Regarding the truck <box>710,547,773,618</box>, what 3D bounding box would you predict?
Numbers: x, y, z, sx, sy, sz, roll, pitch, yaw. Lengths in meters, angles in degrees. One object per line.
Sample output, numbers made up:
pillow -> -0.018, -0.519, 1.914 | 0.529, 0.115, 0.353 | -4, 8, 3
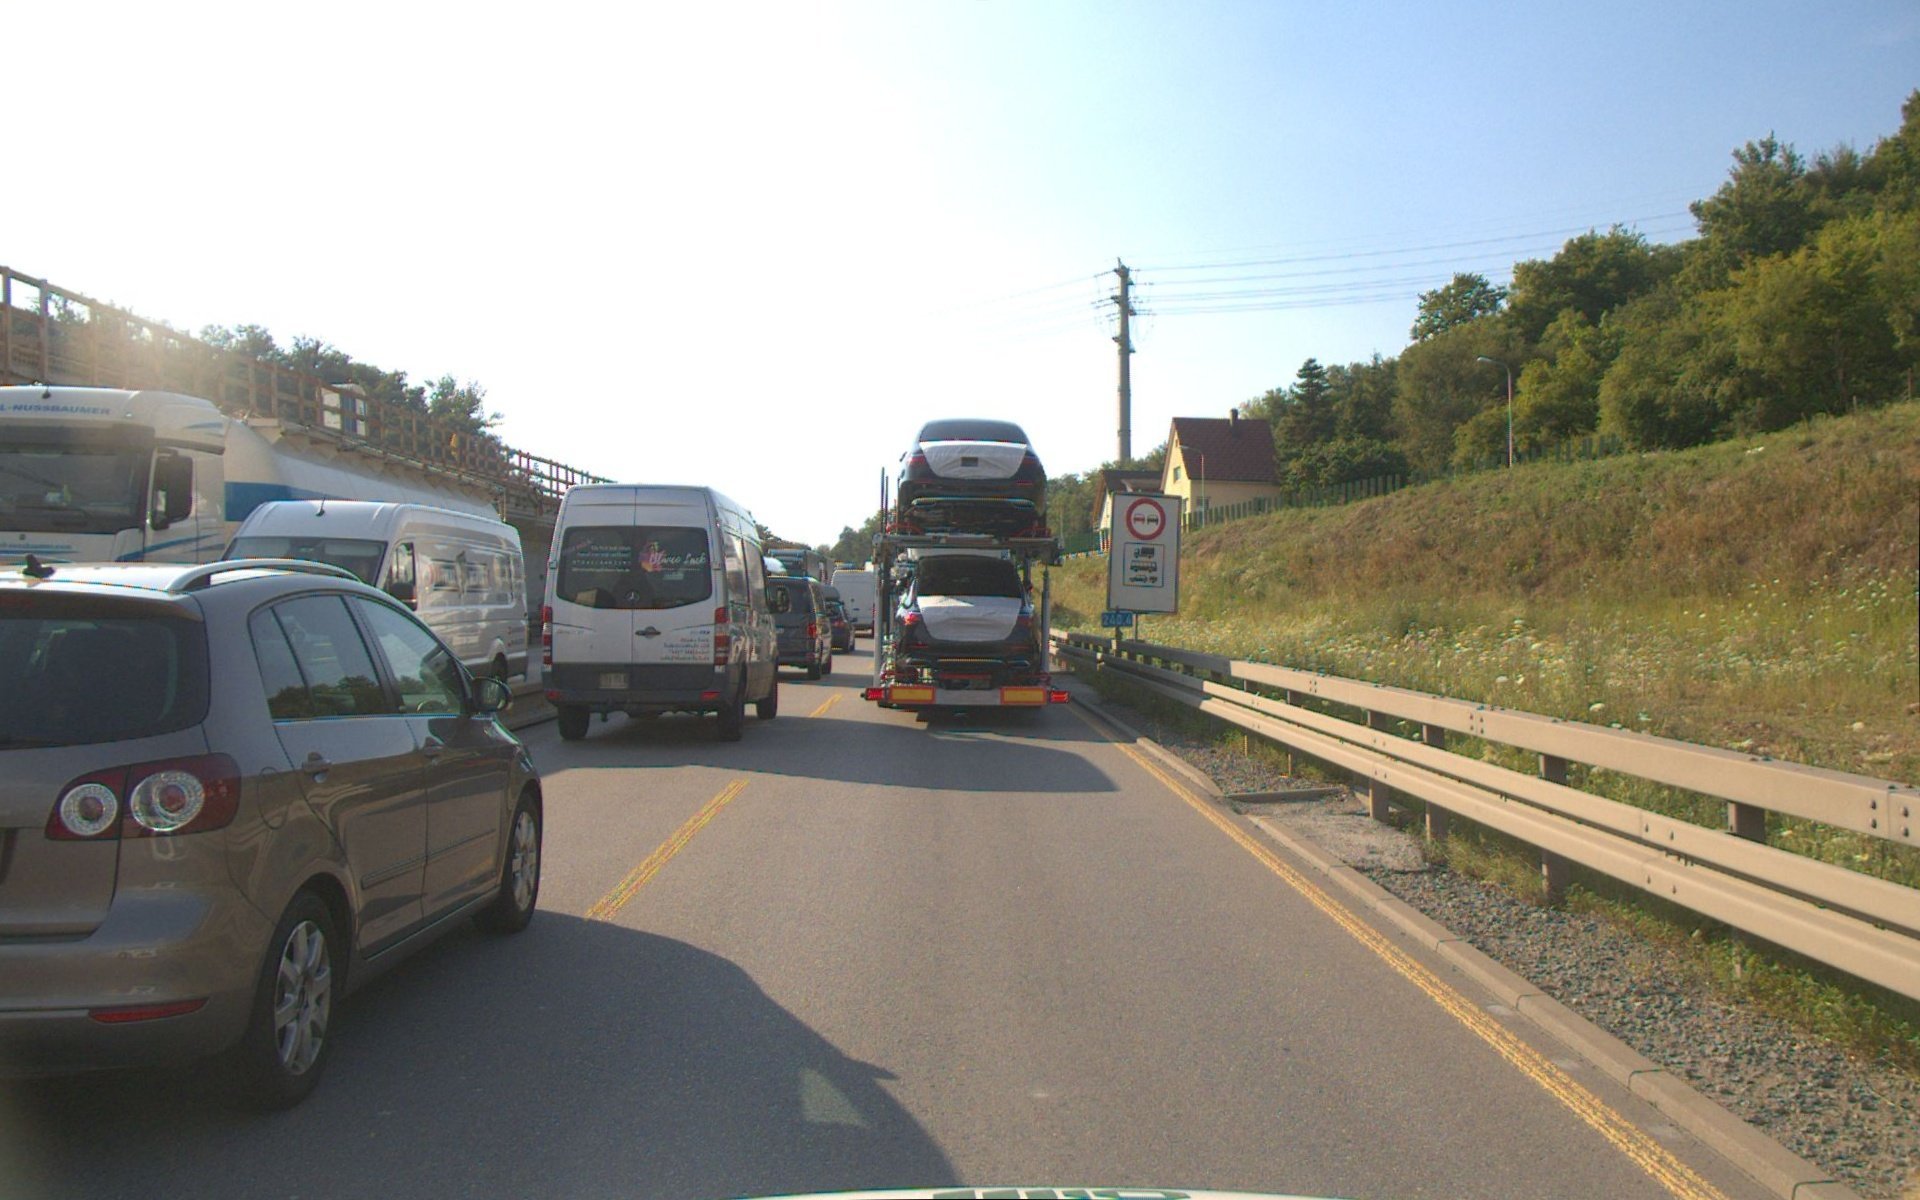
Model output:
truck -> -11.091, -0.843, 84.411 | 2.497, 3.469, 5.530 | 1, 0, -1

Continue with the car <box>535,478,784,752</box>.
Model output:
car -> -3.264, 0.110, 19.111 | 1.953, 2.694, 5.529 | 0, 1, -1

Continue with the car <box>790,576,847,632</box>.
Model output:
car -> -6.662, 0.185, 78.122 | 2.422, 2.578, 3.999 | 0, 0, -2

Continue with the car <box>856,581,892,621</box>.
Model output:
car -> -4.681, 0.043, 90.809 | 1.848, 2.136, 3.764 | 1, 0, -2

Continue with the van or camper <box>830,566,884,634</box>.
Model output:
van or camper -> -4.162, 0.017, 67.519 | 1.928, 2.637, 5.040 | 1, 0, -1

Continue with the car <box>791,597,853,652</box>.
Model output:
car -> -4.178, 0.719, 50.545 | 1.691, 1.549, 3.971 | 1, 1, -2

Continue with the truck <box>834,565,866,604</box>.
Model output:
truck -> -10.370, -1.434, 156.907 | 2.660, 3.484, 8.137 | -2, 0, -2

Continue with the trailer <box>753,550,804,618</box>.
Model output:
trailer -> -11.649, -1.081, 106.735 | 2.709, 4.213, 5.975 | 1, 1, -1

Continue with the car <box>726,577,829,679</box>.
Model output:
car -> -3.659, 0.555, 33.768 | 1.772, 1.937, 3.998 | 1, -1, -2

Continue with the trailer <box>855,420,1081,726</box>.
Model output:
trailer -> -0.014, -0.306, 27.309 | 2.628, 3.596, 15.285 | 1, 0, -1

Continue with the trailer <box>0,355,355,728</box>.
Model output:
trailer -> -10.042, -0.619, 20.720 | 2.598, 3.918, 6.427 | 1, 0, -1

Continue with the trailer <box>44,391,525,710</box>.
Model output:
trailer -> -10.175, -0.592, 27.308 | 2.598, 3.918, 13.439 | 1, 0, -1

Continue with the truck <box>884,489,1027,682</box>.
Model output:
truck -> -0.135, -0.274, 34.796 | 2.628, 3.596, 7.192 | 1, 0, -1

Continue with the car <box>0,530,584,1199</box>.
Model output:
car -> -2.656, 0.663, 6.077 | 1.646, 1.616, 4.270 | 0, -1, -1

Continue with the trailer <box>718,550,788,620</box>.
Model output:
trailer -> -11.240, -0.755, 90.657 | 2.505, 3.588, 10.679 | 1, 0, -1

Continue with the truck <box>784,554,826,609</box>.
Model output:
truck -> -11.926, -1.392, 127.845 | 2.802, 4.078, 5.656 | 1, 0, -2

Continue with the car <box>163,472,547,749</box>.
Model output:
car -> -6.823, 0.121, 19.839 | 1.953, 2.668, 7.408 | 1, 0, -1
